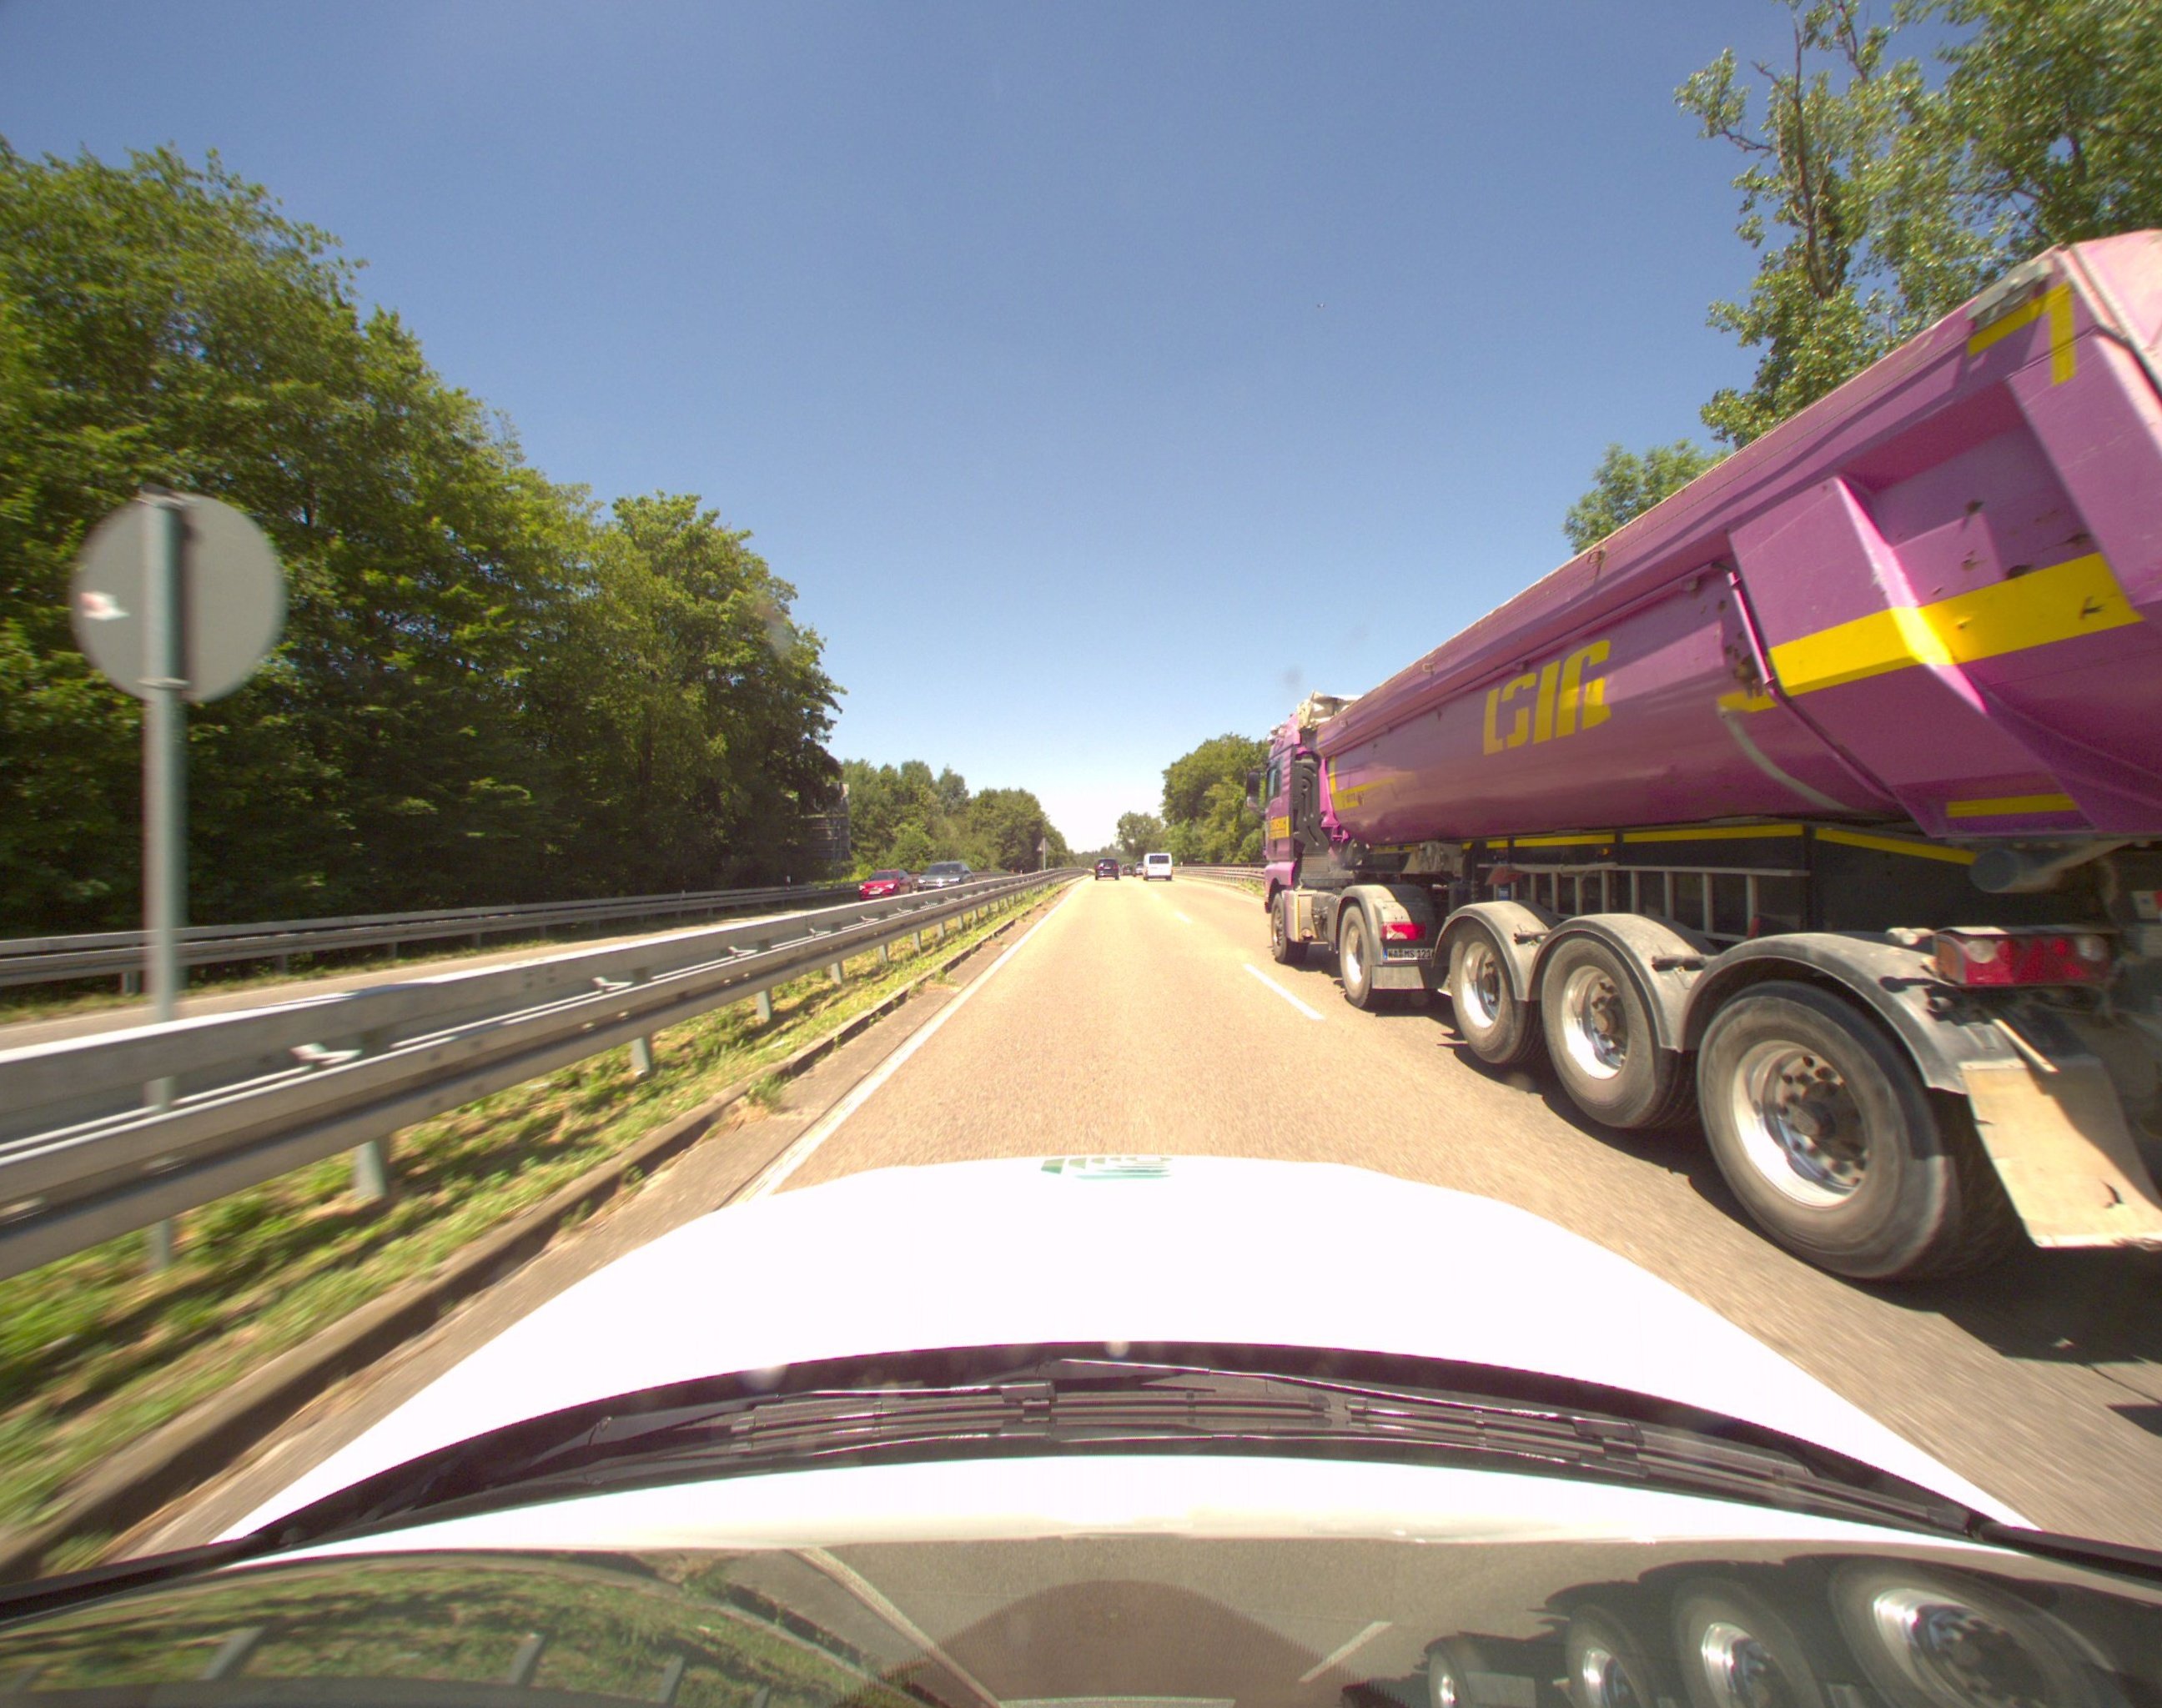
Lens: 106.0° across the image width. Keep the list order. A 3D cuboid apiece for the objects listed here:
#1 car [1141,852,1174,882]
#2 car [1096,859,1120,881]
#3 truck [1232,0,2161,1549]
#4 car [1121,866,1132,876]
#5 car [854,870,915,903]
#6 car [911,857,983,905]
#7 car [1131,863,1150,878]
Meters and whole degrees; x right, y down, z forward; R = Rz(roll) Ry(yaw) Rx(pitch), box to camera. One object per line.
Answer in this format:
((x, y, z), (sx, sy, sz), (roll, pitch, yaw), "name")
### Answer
((5.614, 0.957, 60.295), (1.987, 2.077, 3.999), (-2, -1, 0), "car")
((2.125, 1.303, 65.553), (1.851, 1.671, 4.000), (0, -2, 1), "car")
((3.864, -0.379, 7.816), (2.711, 3.930, 12.371), (-1, 0, 1), "truck")
((7.478, 2.793, 133.911), (1.598, 1.420, 3.521), (-2, -1, -1), "car")
((-9.242, 1.501, 38.593), (1.791, 1.391, 4.001), (-2, -1, 1), "car")
((-5.584, 1.083, 34.498), (1.985, 1.794, 4.750), (-2, -1, 2), "car")
((5.975, 1.661, 81.659), (1.598, 1.420, 3.521), (-2, -1, -1), "car")
